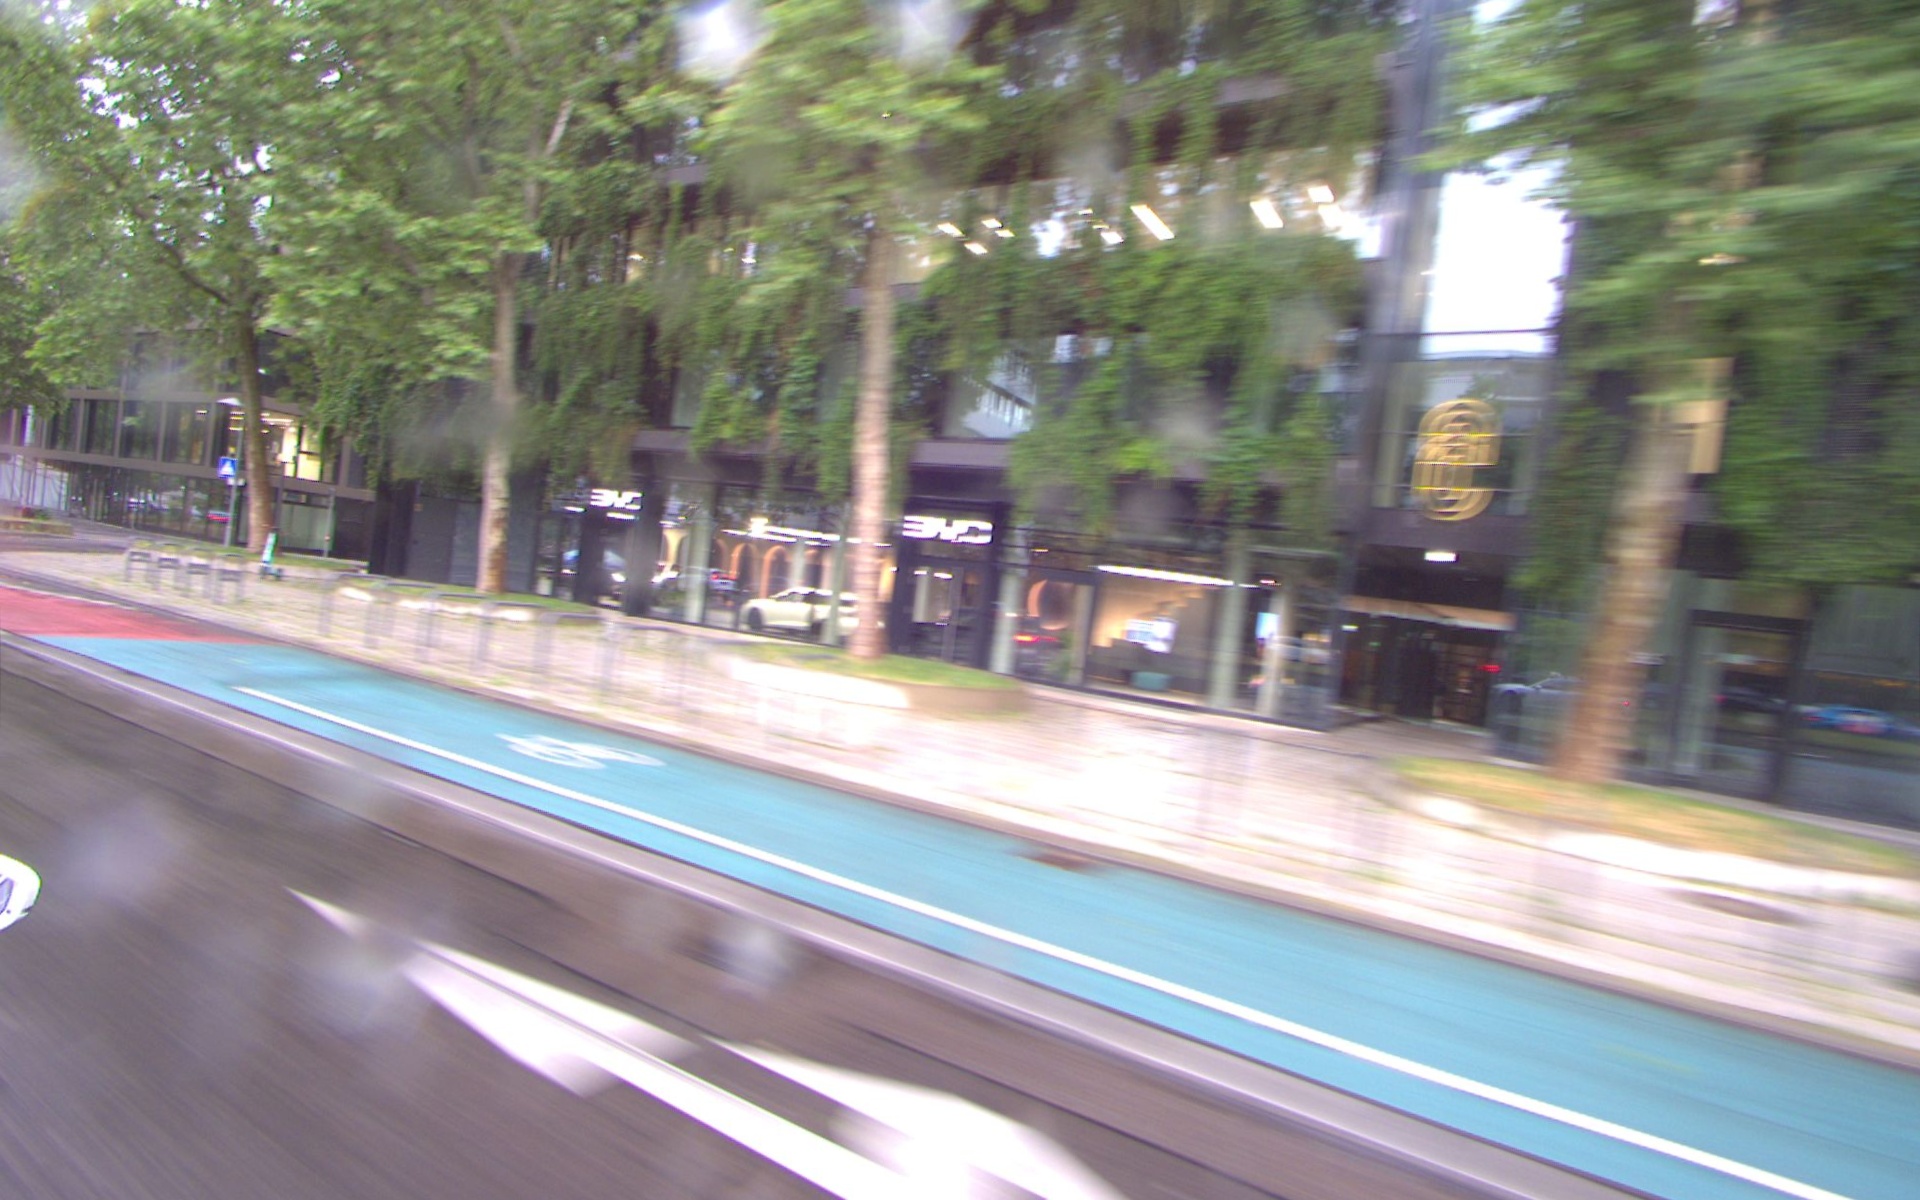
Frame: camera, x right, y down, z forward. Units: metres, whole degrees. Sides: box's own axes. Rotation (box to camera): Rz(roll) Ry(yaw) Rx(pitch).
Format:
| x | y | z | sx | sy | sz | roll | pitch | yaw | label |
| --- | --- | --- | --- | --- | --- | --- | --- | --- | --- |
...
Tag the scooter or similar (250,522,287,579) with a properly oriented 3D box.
| x | y | z | sx | sy | sz | roll | pitch | yaw | label |
| --- | --- | --- | --- | --- | --- | --- | --- | --- | --- |
| -16.028 | -1.136 | 23.329 | 0.377 | 1.243 | 1.073 | 7 | 1 | -22 | scooter or similar |
